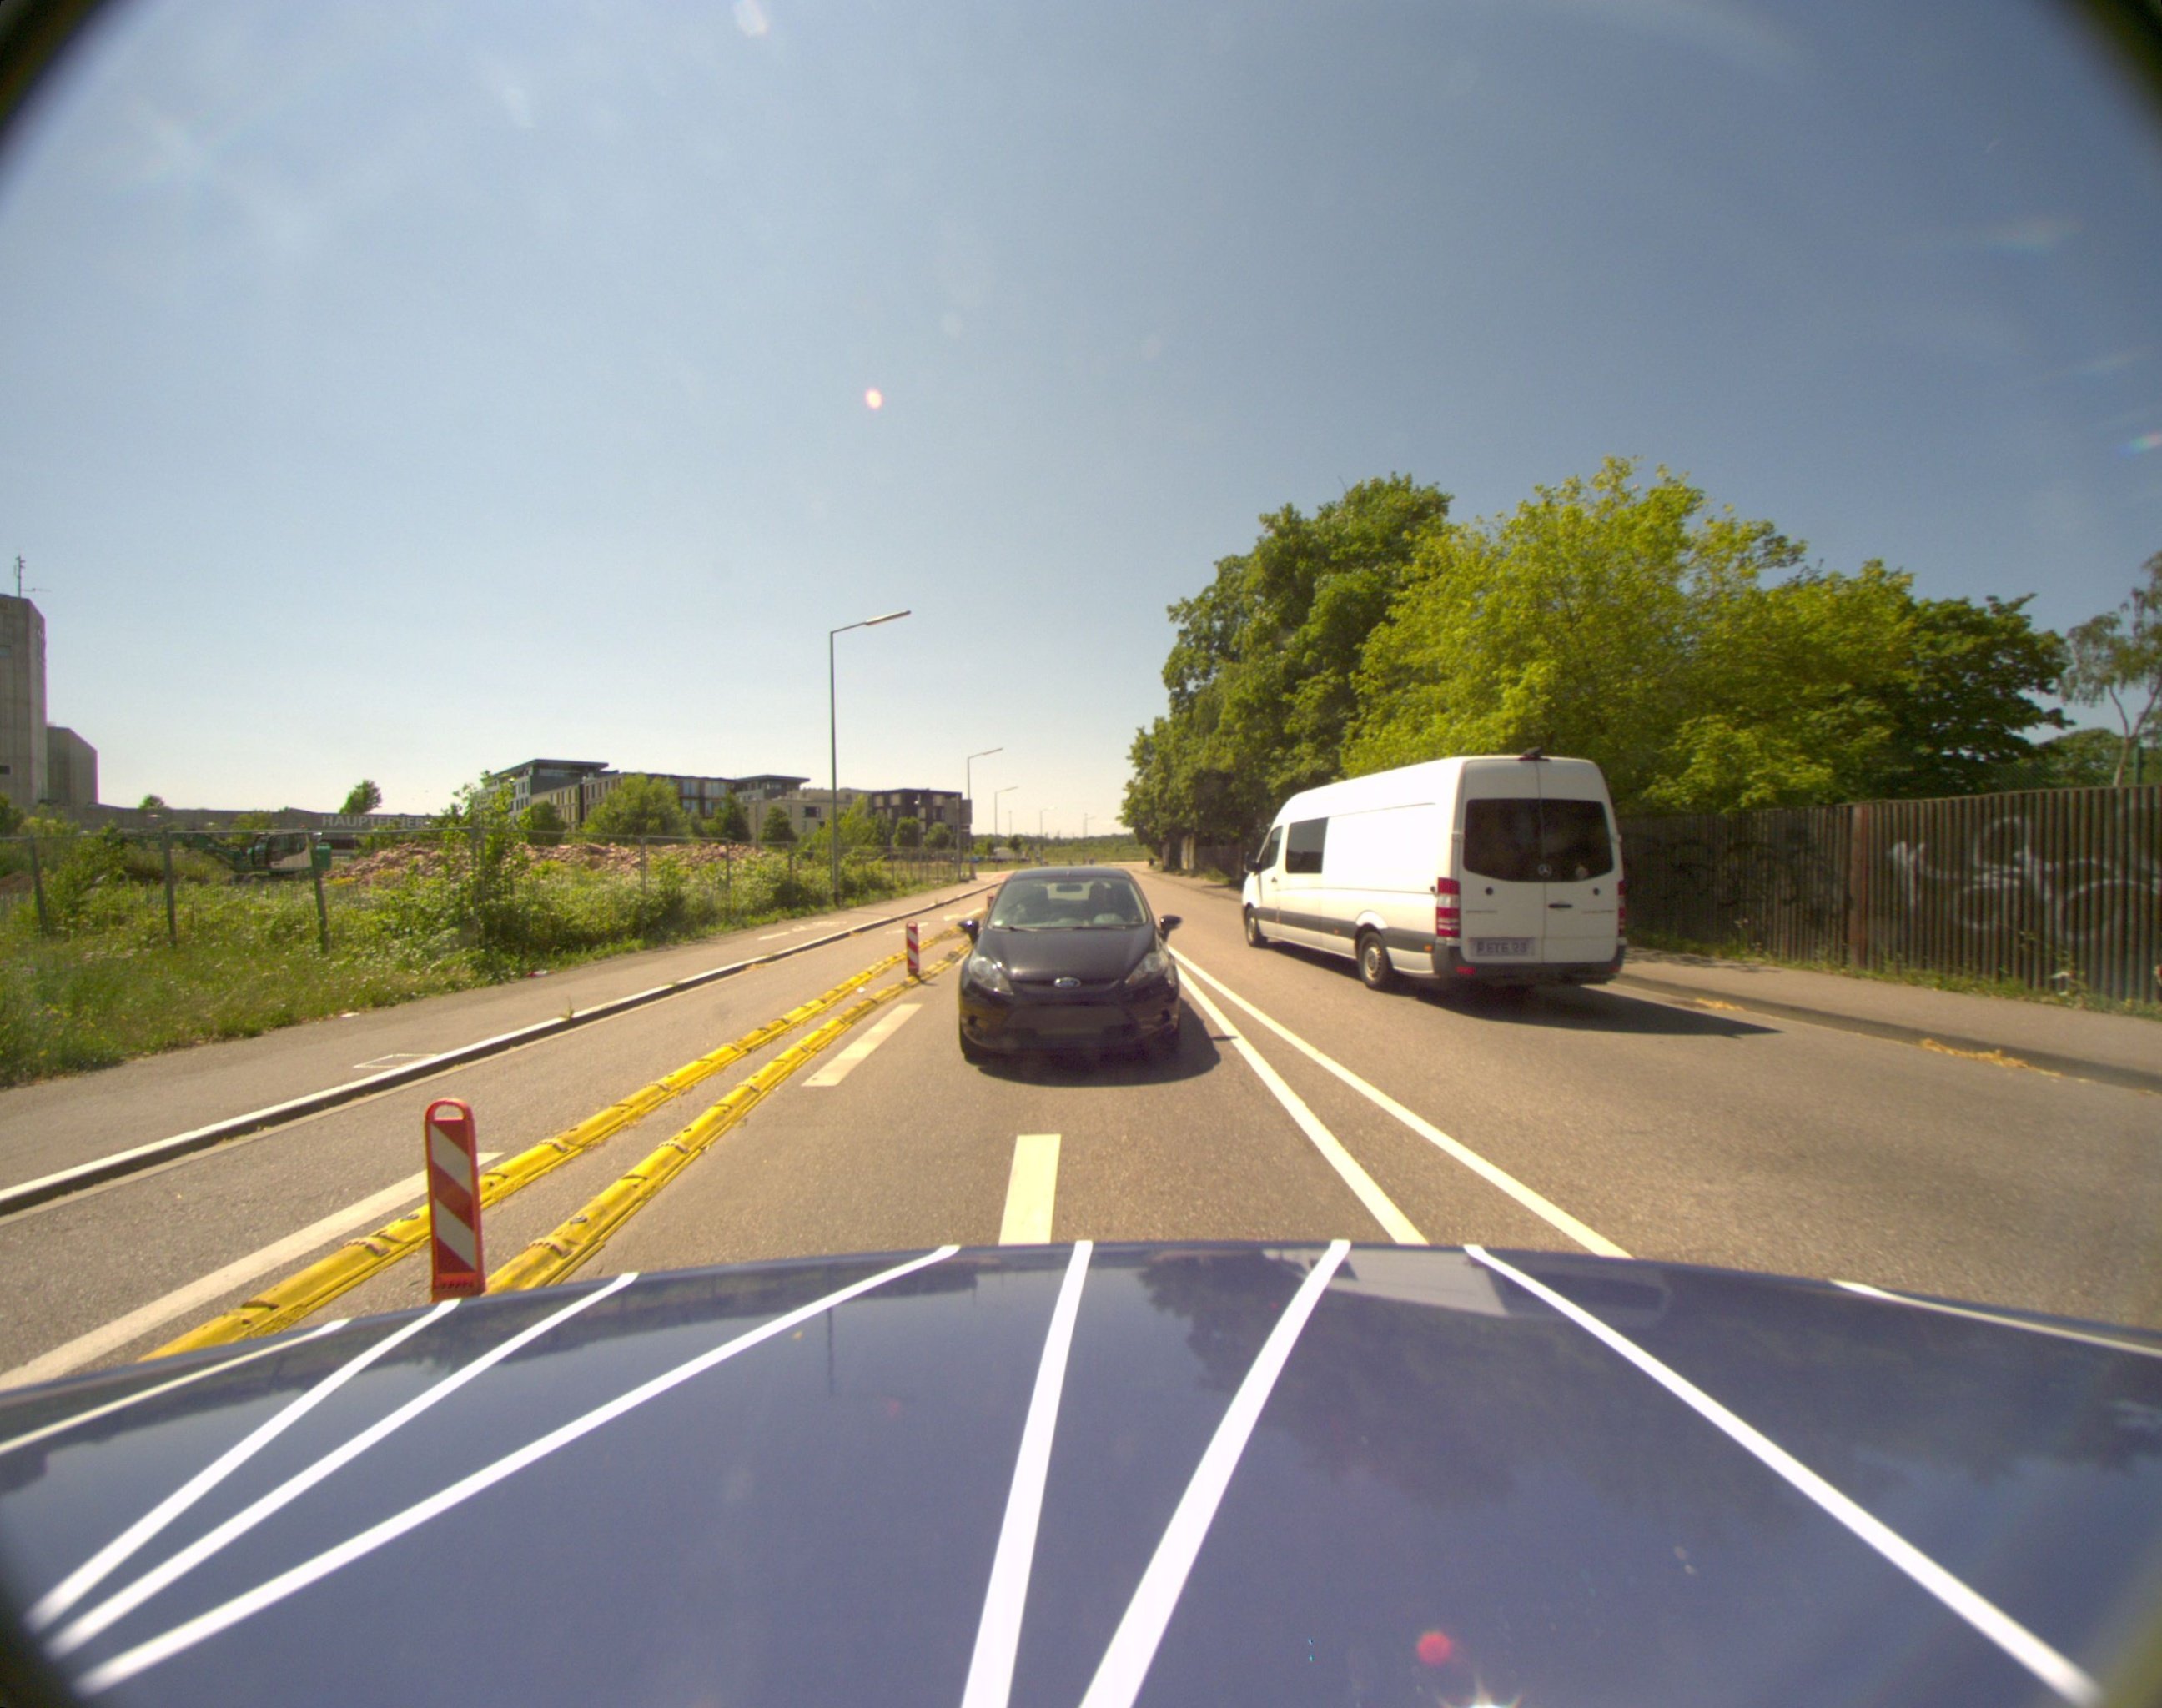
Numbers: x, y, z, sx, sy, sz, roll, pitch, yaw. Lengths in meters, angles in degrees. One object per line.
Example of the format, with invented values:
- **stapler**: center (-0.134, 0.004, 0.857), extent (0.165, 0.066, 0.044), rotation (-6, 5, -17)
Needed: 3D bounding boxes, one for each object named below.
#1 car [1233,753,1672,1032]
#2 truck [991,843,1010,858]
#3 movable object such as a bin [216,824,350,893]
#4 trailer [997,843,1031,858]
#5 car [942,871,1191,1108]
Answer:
- **car**: center (4.120, 0.331, 10.370), extent (2.026, 2.524, 6.823), rotation (0, 0, -6)
- **truck**: center (-17.975, -0.770, 169.919), extent (4.008, 3.316, 1.994), rotation (-1, 1, -45)
- **movable object such as a bin**: center (-37.659, 0.195, 35.990), extent (2.204, 3.045, 3.690), rotation (-1, 1, 6)
- **trailer**: center (-15.219, -0.773, 172.660), extent (8.194, 3.329, 1.994), rotation (-1, 0, -45)
- **car**: center (-0.075, 0.946, 7.019), extent (1.602, 1.422, 4.000), rotation (-2, 0, 1)
